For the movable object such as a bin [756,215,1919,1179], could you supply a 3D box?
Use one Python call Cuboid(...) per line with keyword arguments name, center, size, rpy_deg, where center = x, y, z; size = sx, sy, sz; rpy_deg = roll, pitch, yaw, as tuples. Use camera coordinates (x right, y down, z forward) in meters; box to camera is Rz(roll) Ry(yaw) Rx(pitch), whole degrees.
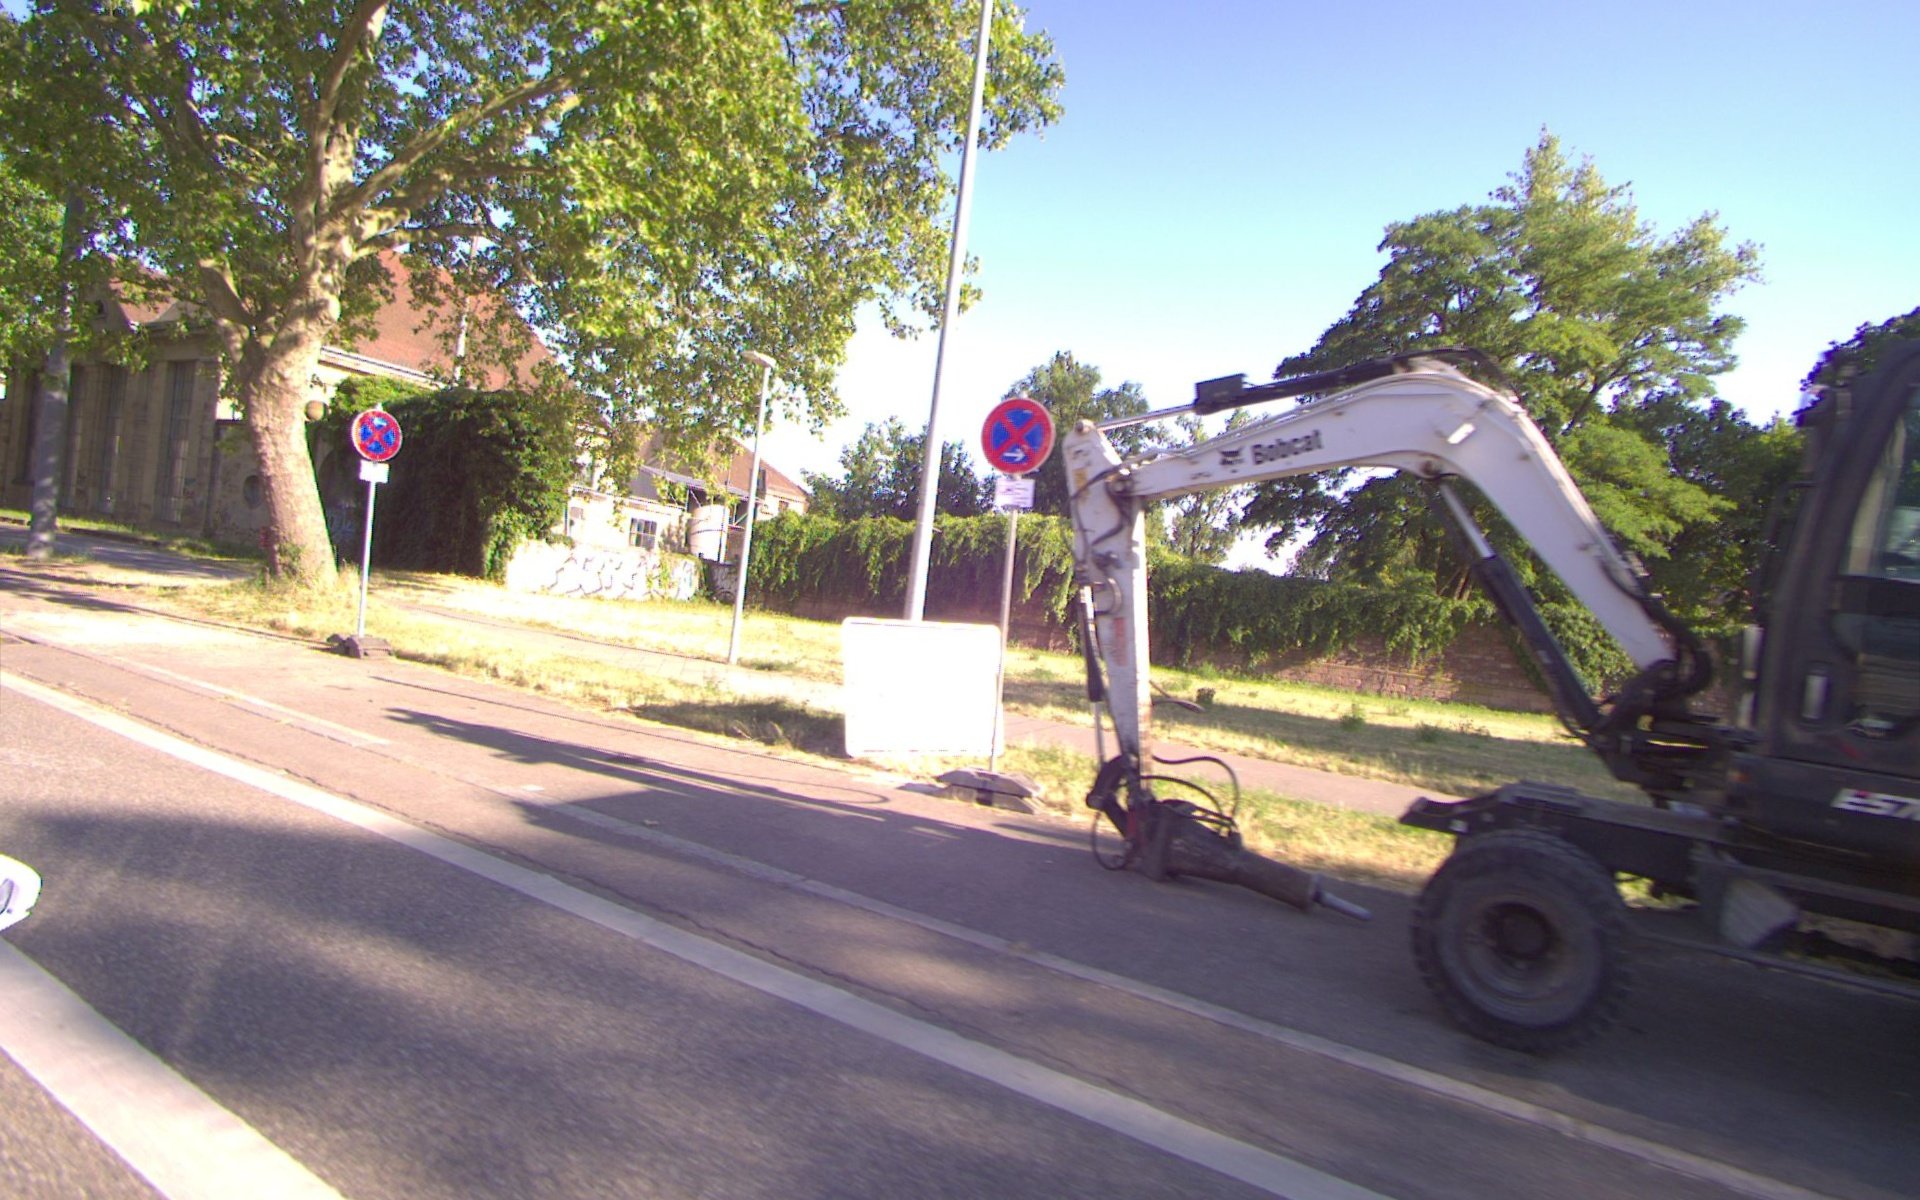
Cuboid(name="movable object such as a bin", center=(2.593, 0.189, 5.345), size=(7.099, 3.189, 2.743), rpy_deg=(7, 3, 32))
